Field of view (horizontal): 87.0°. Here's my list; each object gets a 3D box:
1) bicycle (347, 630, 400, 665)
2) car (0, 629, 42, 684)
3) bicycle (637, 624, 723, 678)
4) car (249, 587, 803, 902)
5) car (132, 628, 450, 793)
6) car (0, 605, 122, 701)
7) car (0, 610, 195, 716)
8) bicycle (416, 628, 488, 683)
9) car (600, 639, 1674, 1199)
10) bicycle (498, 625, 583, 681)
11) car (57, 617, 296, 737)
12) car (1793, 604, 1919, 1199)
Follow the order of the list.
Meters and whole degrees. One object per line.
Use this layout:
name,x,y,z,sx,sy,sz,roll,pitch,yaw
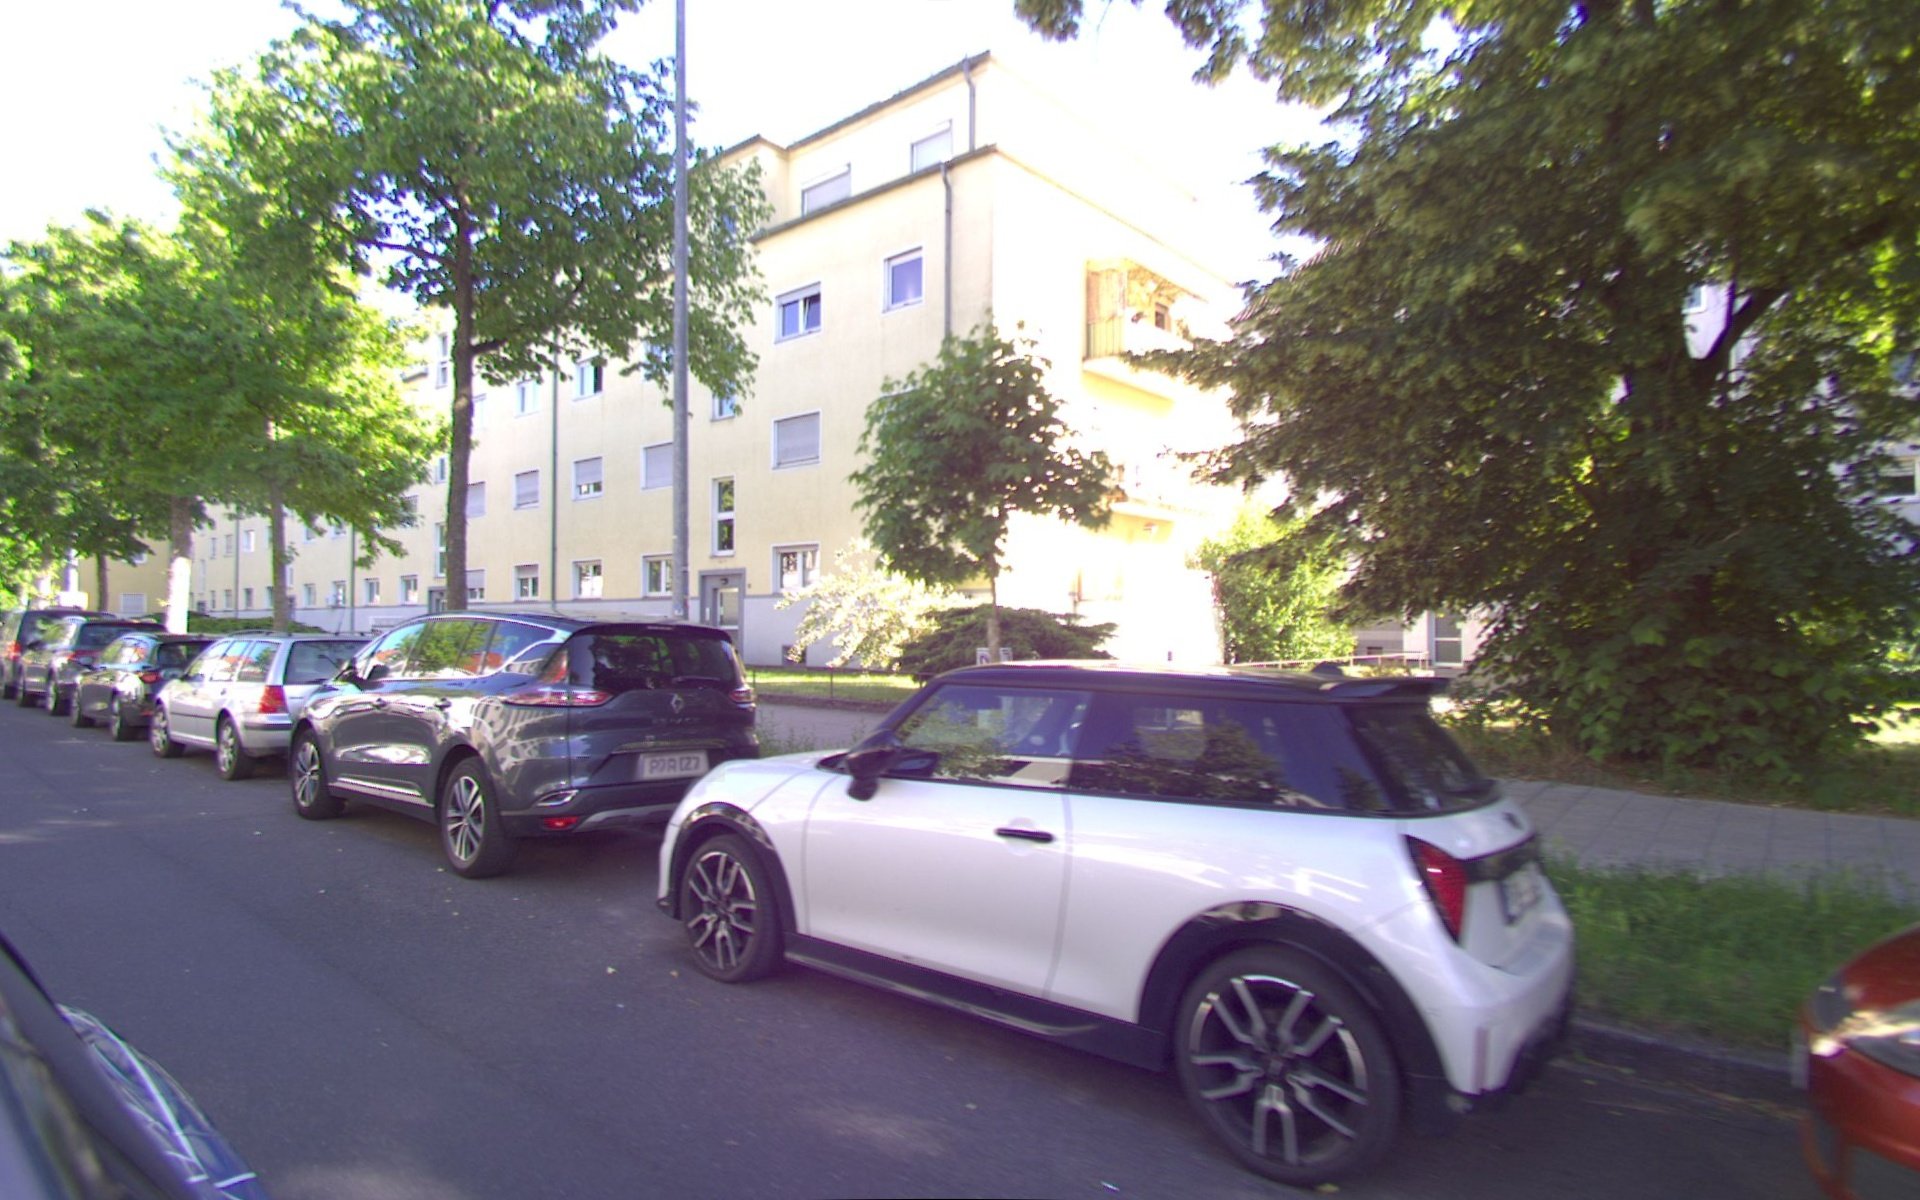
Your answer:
bicycle,-15.862,1.280,27.359,1.902,0.923,0.589,-1,-3,40
car,-27.681,1.574,28.825,4.061,1.482,1.757,-1,-5,41
bicycle,-6.767,1.203,24.512,0.776,1.235,1.933,-1,-1,38
car,-3.577,0.842,7.756,5.084,1.669,1.823,-1,-3,40
car,-7.557,1.066,11.250,4.485,1.492,1.689,-1,-3,40
car,-19.741,1.096,21.812,4.864,1.864,1.775,-1,-3,41
car,-15.661,1.072,18.272,4.520,1.699,1.776,-1,-3,38
bicycle,-11.567,1.246,23.018,2.259,1.199,0.589,-1,-3,40
car,0.376,0.877,4.258,4.185,1.384,1.637,-1,-3,40
bicycle,-9.848,1.227,23.806,0.517,1.235,1.802,-1,-1,41
car,-11.348,1.012,14.545,4.486,1.463,1.775,-1,-3,40
car,3.786,0.761,1.364,4.065,1.516,1.637,-1,-3,40
